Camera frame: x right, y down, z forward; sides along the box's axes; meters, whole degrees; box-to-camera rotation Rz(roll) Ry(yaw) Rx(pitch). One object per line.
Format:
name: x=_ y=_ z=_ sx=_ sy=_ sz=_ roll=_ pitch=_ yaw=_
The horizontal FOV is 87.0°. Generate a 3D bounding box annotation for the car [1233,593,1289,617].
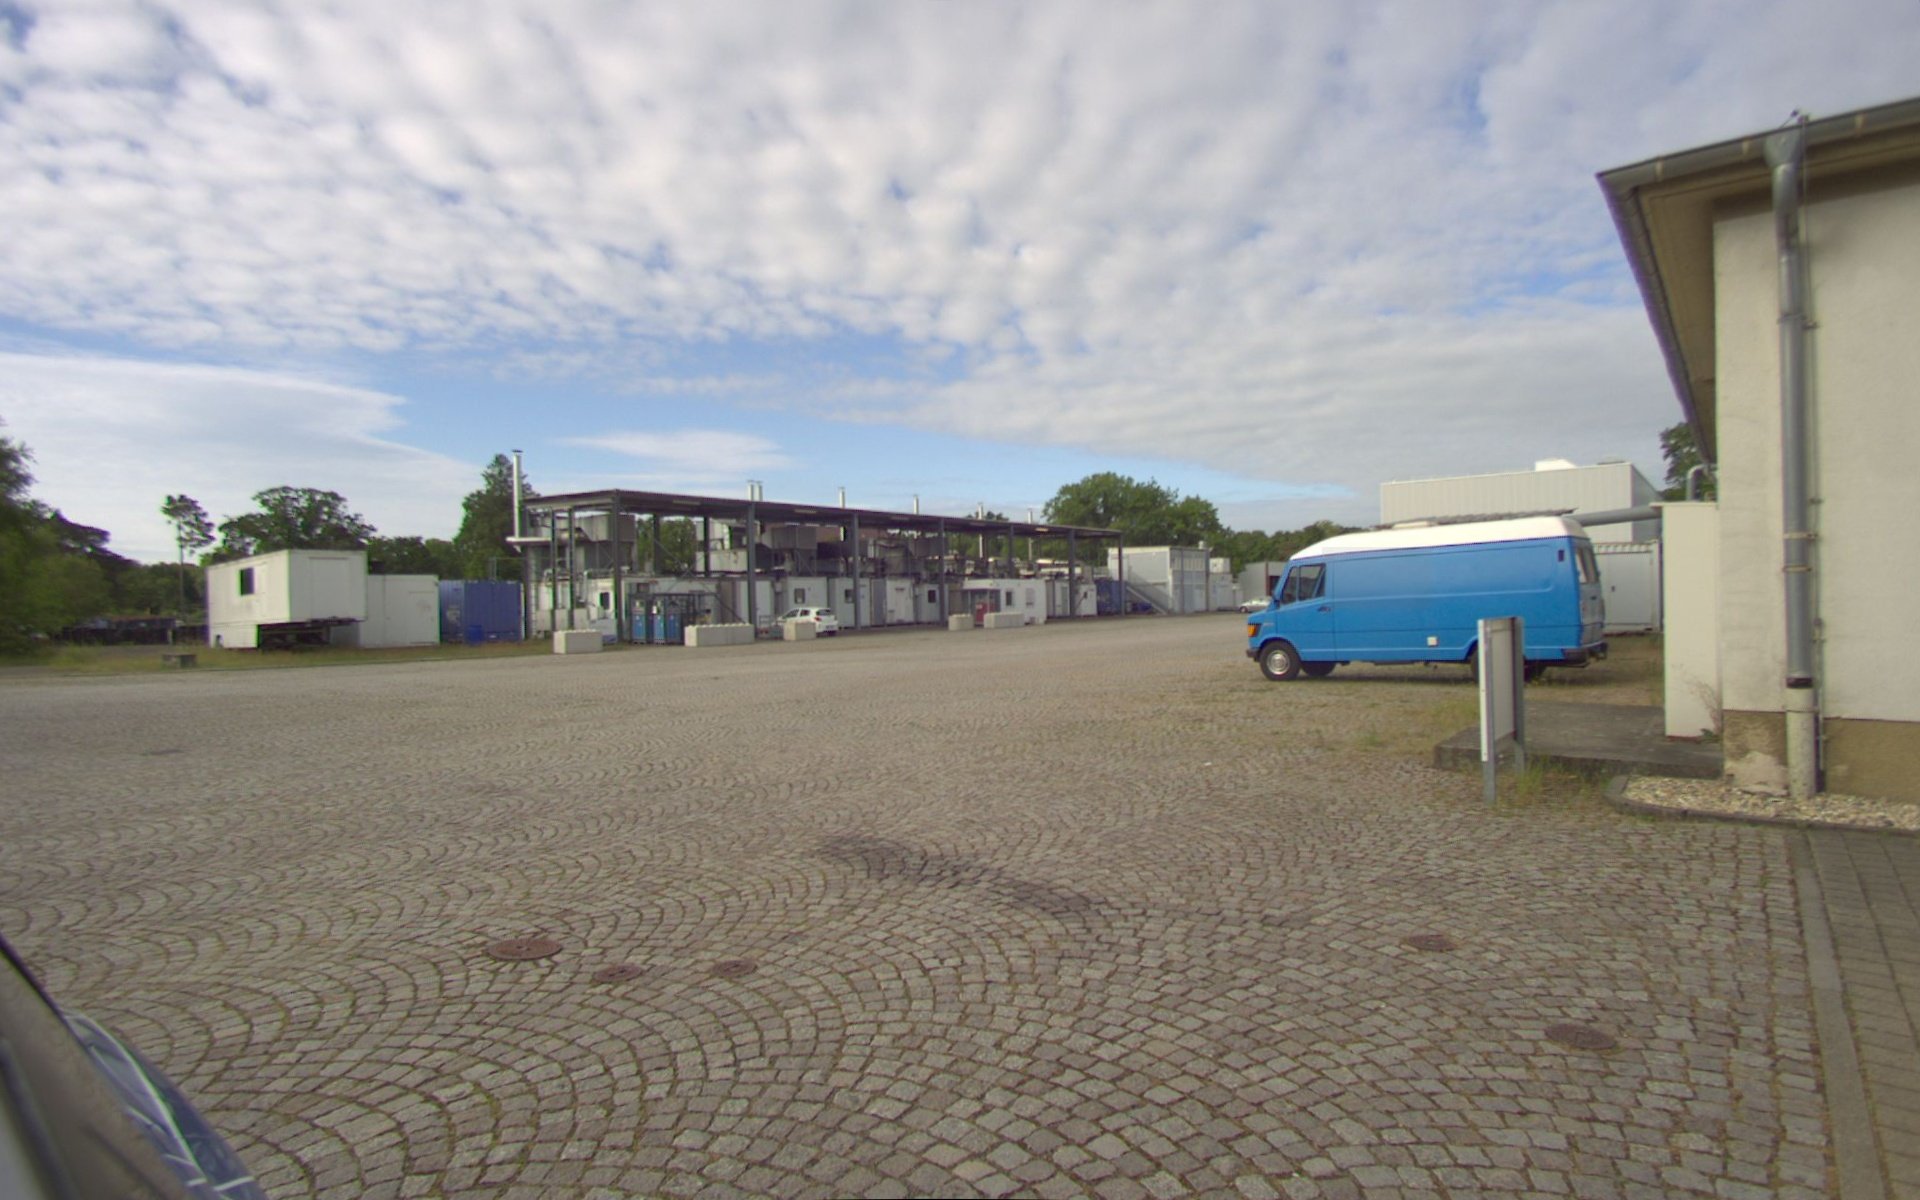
car: x=26.634 y=0.445 z=89.550 sx=4.299 sy=1.961 sz=1.976 roll=-2 pitch=-1 yaw=36

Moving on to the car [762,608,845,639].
car: x=-7.937 y=1.204 z=51.238 sx=3.992 sy=1.484 sz=1.911 roll=-1 pitch=-2 yaw=36

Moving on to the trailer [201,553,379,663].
trailer: x=-25.775 y=0.399 z=38.602 sx=10.770 sy=3.690 sz=2.839 roll=-2 pitch=-1 yaw=41

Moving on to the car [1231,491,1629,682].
car: x=7.359 y=-0.086 z=16.300 sx=5.395 sy=2.602 sz=1.973 roll=-3 pitch=-2 yaw=42
